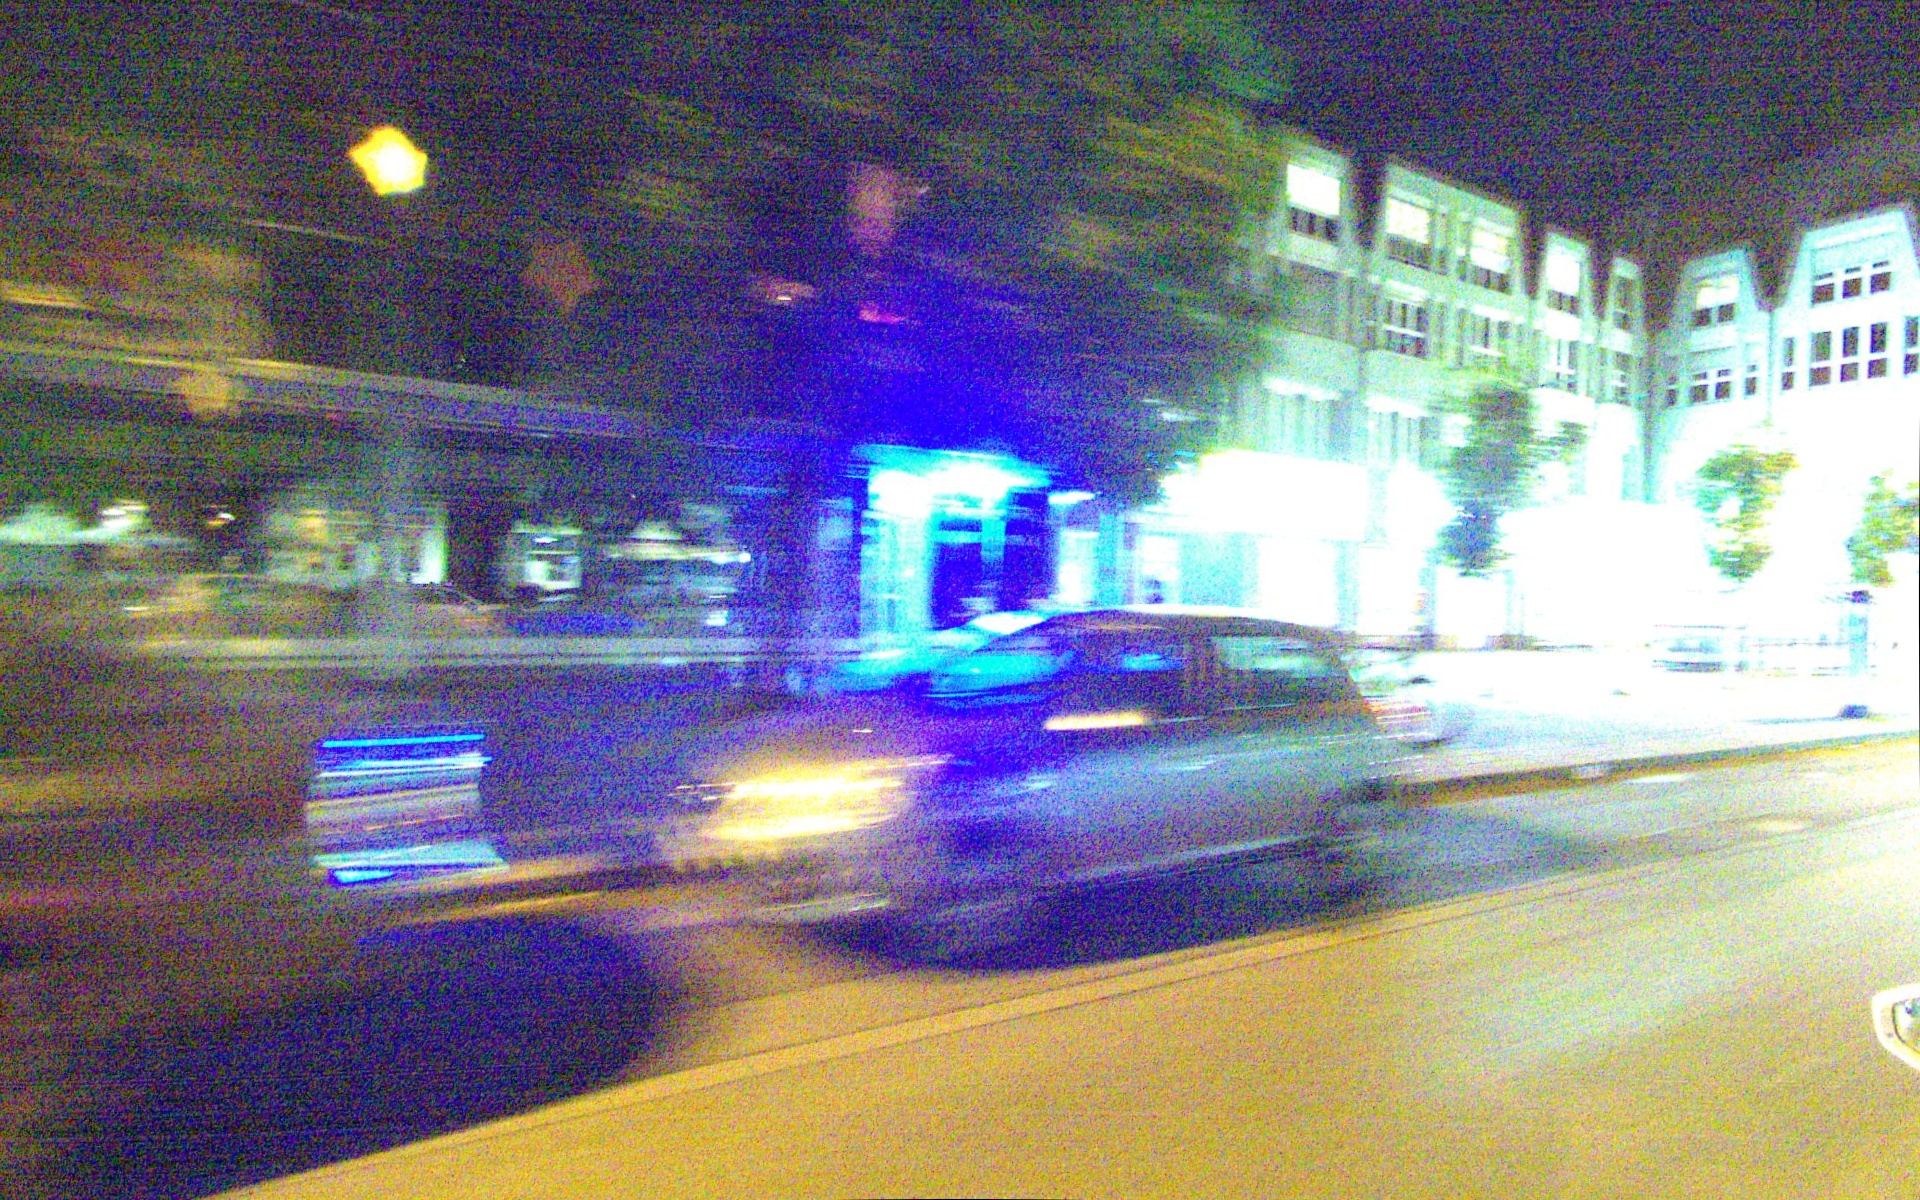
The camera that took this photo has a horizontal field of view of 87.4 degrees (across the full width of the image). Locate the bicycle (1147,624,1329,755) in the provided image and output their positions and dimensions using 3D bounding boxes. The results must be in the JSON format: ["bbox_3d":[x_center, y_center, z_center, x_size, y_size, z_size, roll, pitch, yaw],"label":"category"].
[{"bbox_3d":[2.641,0.813,9.761,0.526,1.049,1.842,1,2,-30],"label":"bicycle"}]

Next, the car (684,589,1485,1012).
[{"bbox_3d":[0.746,0.746,5.297,3.930,1.448,1.713,1,2,-30],"label":"car"}]

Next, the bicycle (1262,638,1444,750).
[{"bbox_3d":[3.994,0.921,10.369,0.495,0.981,1.842,1,0,-30],"label":"bicycle"}]

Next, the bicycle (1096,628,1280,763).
[{"bbox_3d":[2.057,0.825,9.326,0.526,1.013,1.842,1,2,-30],"label":"bicycle"}]

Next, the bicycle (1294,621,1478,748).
[{"bbox_3d":[4.461,0.838,10.664,0.526,1.182,1.842,1,0,-30],"label":"bicycle"}]

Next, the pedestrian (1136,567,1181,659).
[{"bbox_3d":[3.667,0.240,18.529,0.624,1.658,0.476,1,0,-29],"label":"pedestrian"}]

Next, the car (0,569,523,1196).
[{"bbox_3d":[-3.829,0.631,2.487,4.863,1.444,1.798,1,2,-30],"label":"car"}]

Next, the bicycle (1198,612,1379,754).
[{"bbox_3d":[3.256,0.773,10.137,0.526,1.270,1.842,1,0,-30],"label":"bicycle"}]
